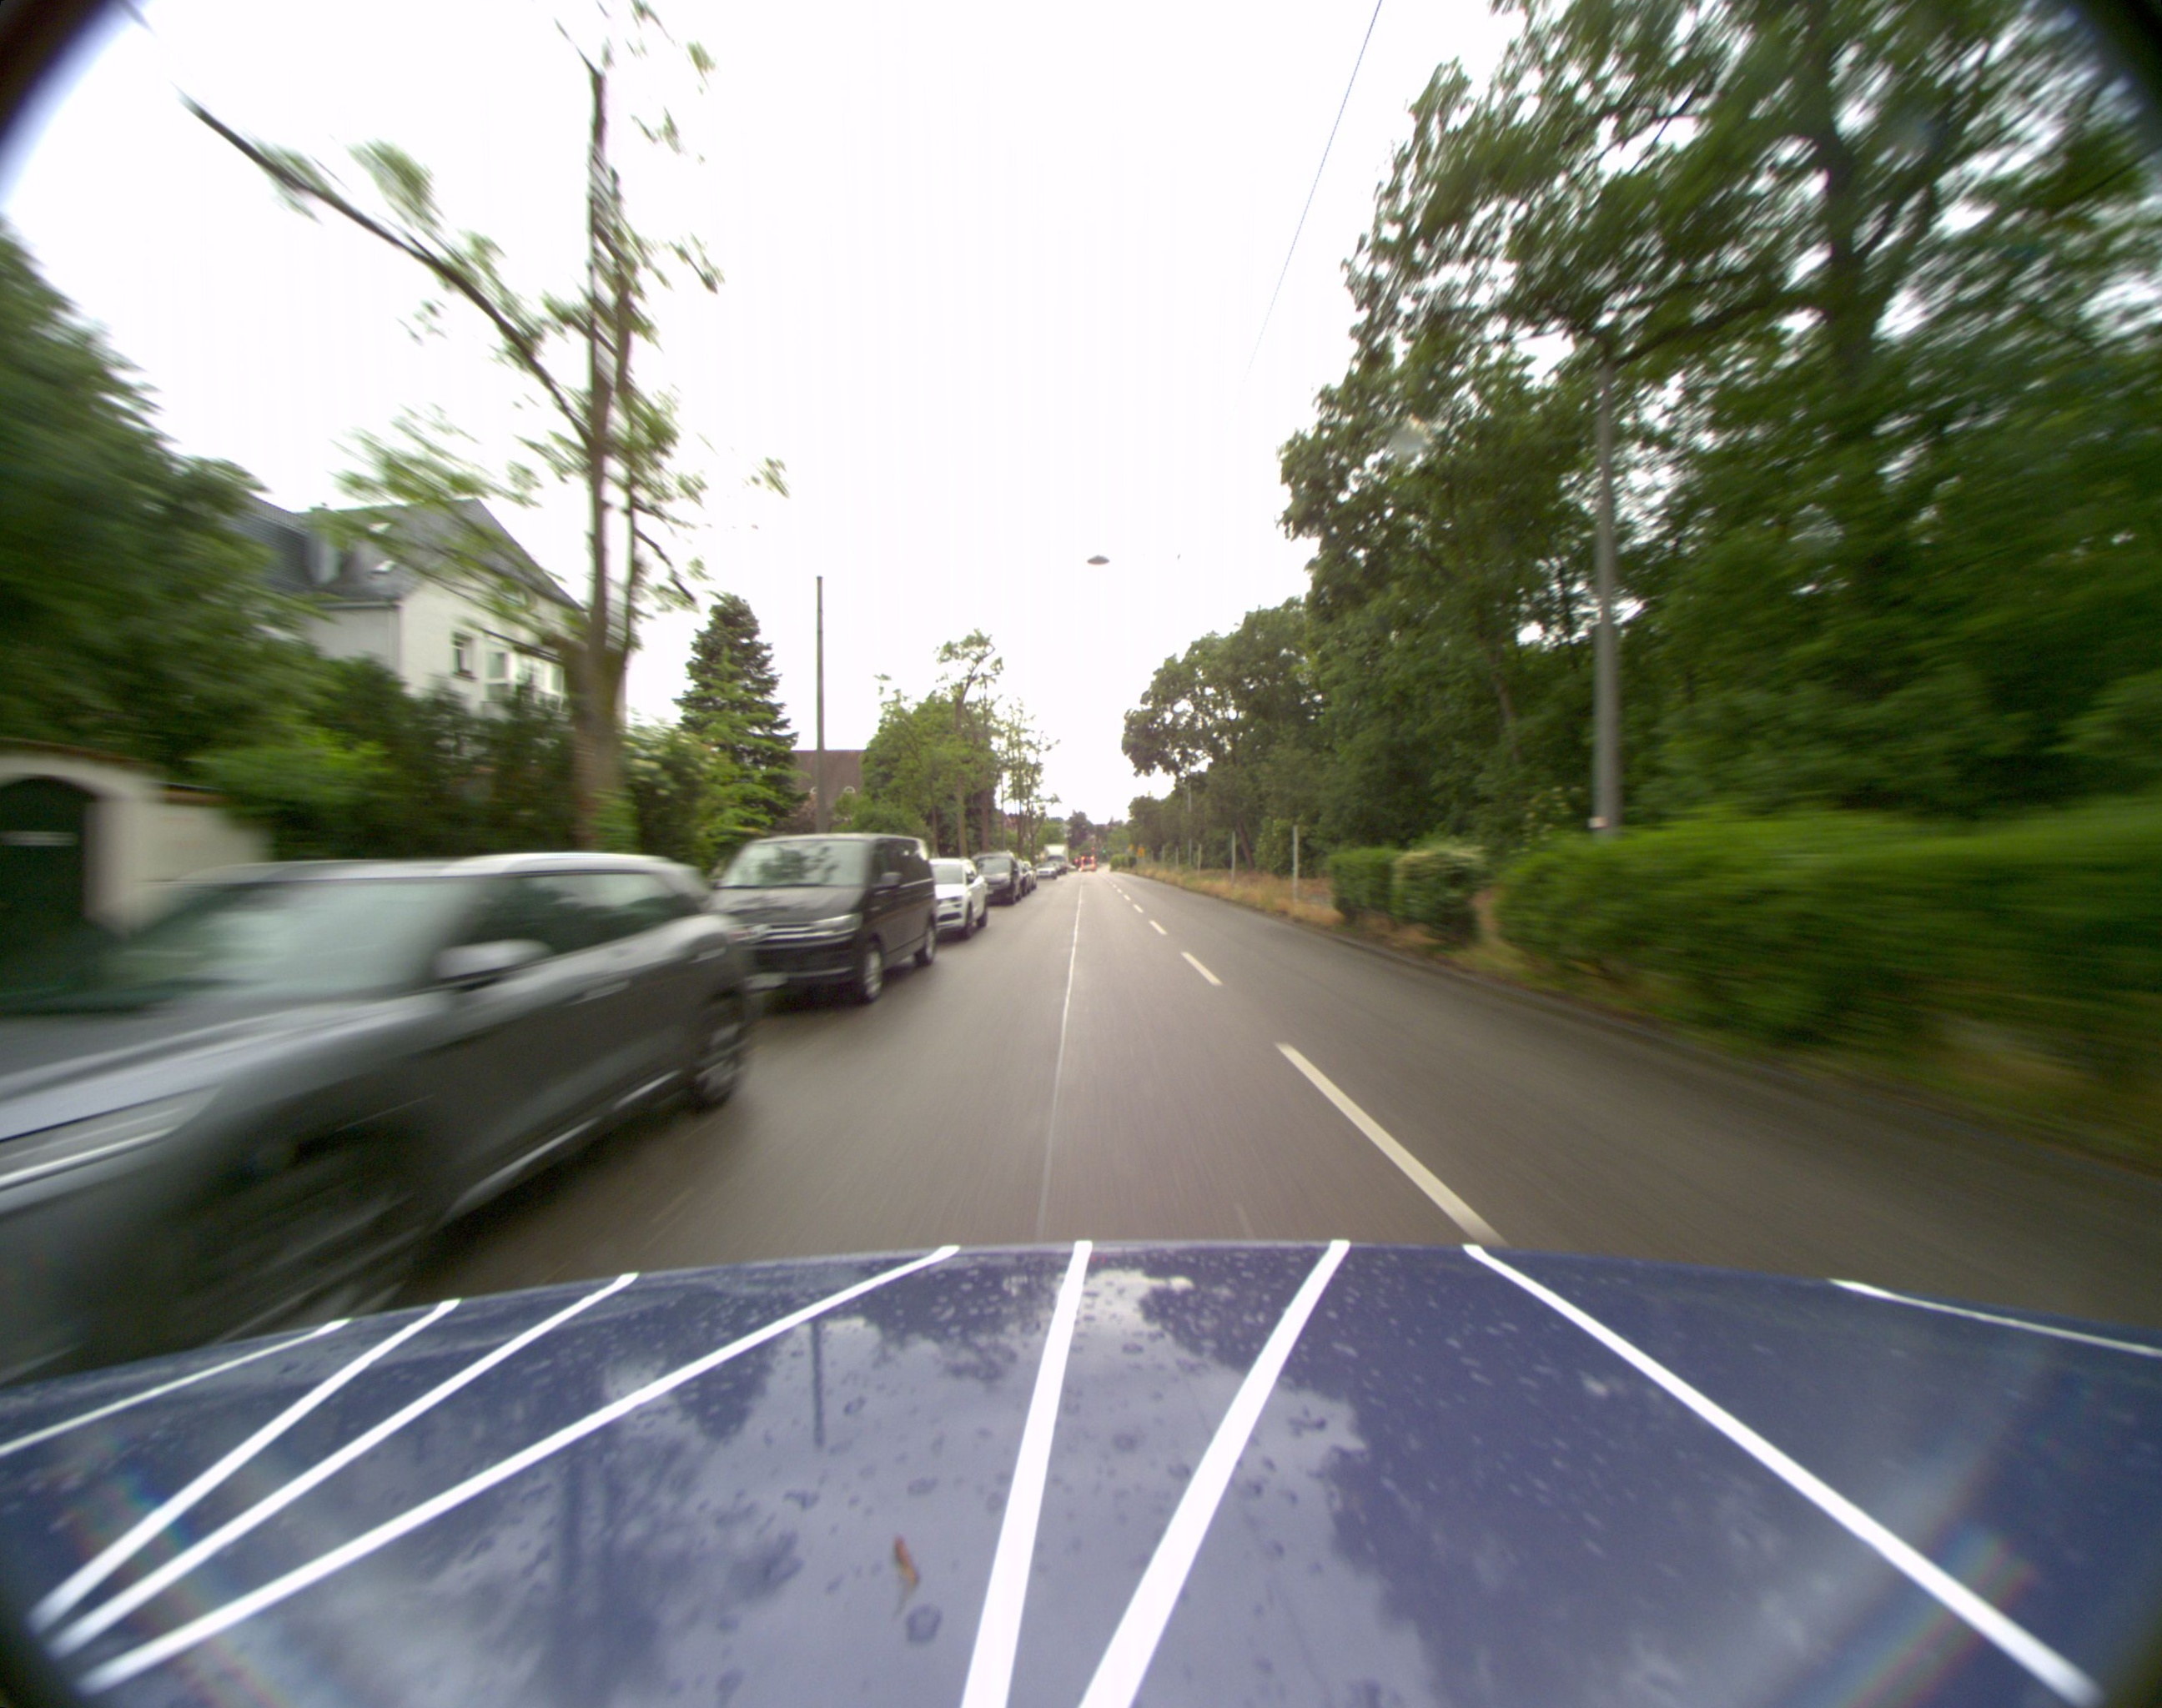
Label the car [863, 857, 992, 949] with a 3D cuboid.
[{"bbox_3d":[-3.066,0.918,16.086,1.809,1.603,4.286,-2,0,0],"label":"car"}]

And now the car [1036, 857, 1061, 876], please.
[{"bbox_3d":[-2.516,0.956,59.503,1.786,1.387,4.000,-2,0,-1],"label":"car"}]

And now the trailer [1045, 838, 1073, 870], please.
[{"bbox_3d":[-2.463,0.049,87.490,2.741,3.487,8.247,-2,0,0],"label":"trailer"}]

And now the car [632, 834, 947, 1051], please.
[{"bbox_3d":[-3.229,0.870,9.722,1.998,2.001,4.888,-2,0,1],"label":"car"}]

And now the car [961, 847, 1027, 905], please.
[{"bbox_3d":[-2.956,0.731,26.670,1.734,1.836,4.230,-2,0,1],"label":"car"}]

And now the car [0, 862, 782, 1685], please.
[{"bbox_3d":[-3.149,0.932,3.404,1.778,1.712,4.327,-2,0,1],"label":"car"}]

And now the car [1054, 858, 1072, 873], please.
[{"bbox_3d":[-1.787,1.154,77.363,1.645,1.455,4.000,-2,0,0],"label":"car"}]

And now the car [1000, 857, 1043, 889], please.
[{"bbox_3d":[-2.928,0.936,38.149,1.742,1.456,3.725,-2,0,1],"label":"car"}]

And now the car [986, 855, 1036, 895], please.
[{"bbox_3d":[-2.920,0.864,32.489,1.683,1.546,4.076,-2,0,1],"label":"car"}]

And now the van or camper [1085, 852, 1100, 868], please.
[{"bbox_3d":[2.497,1.275,163.071,2.862,3.159,6.852,-2,0,3],"label":"van or camper"}]
